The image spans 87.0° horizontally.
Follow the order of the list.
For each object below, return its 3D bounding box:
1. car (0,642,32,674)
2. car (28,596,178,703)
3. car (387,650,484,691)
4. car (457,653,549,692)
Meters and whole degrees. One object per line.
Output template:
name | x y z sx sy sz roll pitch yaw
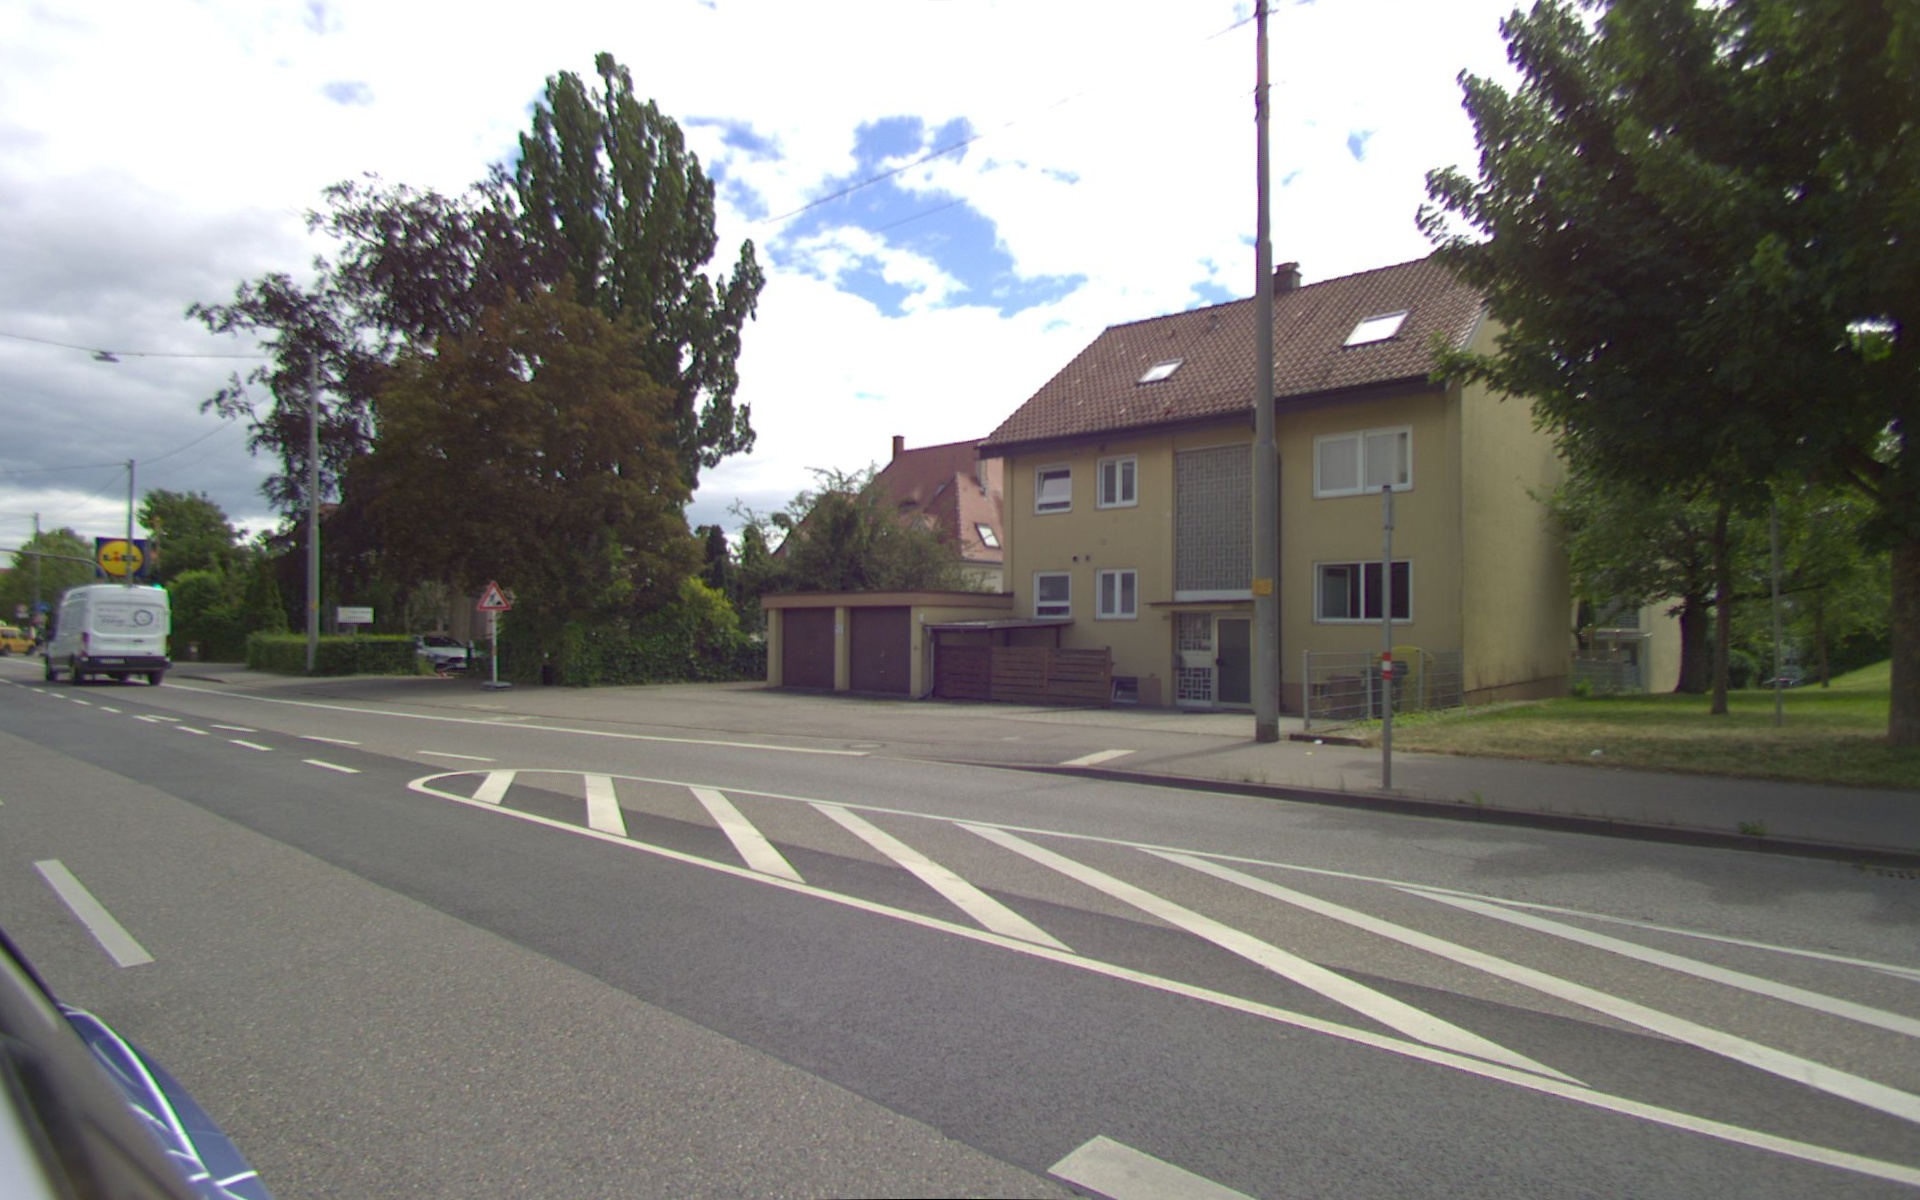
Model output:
car | -58.557 3.550 61.342 1.965 1.797 4.013 -1 0 -19
car | -25.063 1.458 29.513 6.141 2.841 2.122 -2 -5 39
car | -19.117 2.559 36.846 3.516 1.399 1.646 -1 -5 35
car | -17.866 2.803 39.521 3.516 1.399 1.722 -1 -4 36
